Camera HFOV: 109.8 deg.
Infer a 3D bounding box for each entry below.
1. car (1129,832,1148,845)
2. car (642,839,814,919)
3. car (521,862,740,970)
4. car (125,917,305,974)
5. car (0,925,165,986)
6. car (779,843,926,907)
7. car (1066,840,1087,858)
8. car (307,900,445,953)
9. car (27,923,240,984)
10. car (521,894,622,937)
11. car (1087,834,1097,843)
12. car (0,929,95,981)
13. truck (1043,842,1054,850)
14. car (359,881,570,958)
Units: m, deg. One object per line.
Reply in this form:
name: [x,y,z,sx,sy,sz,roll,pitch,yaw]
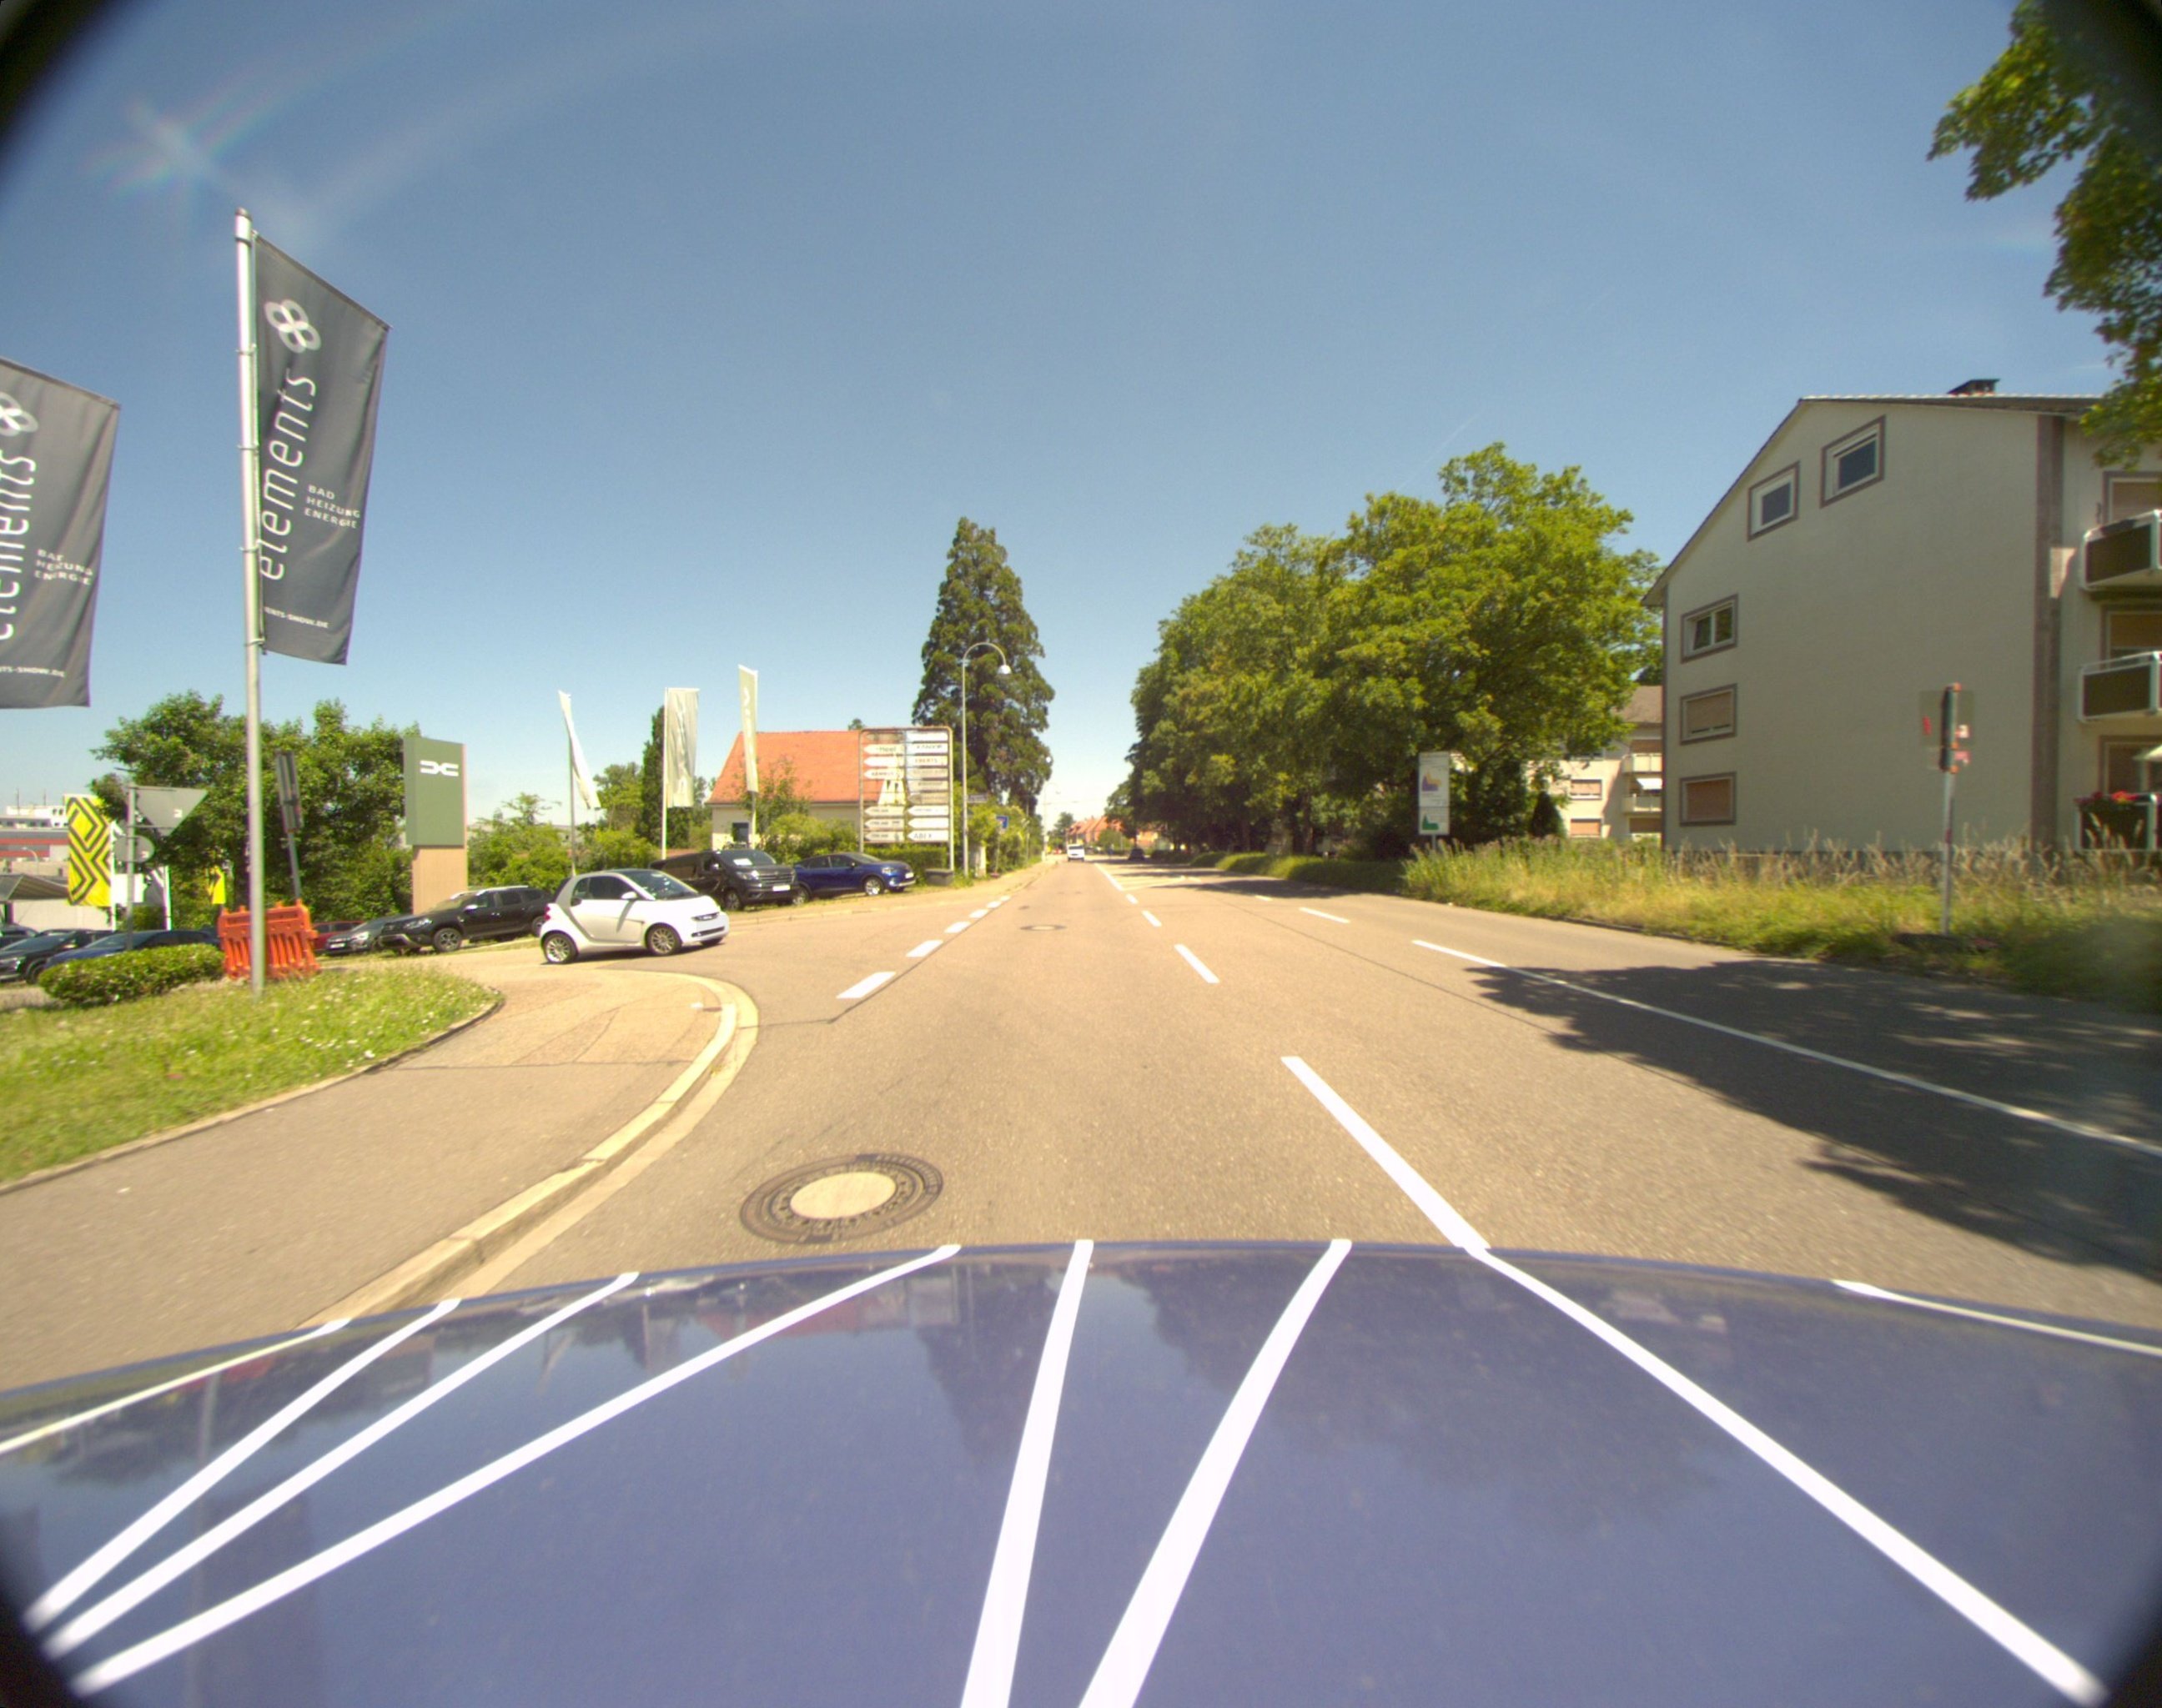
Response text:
car: [6.549,-1.760,86.901,1.726,1.419,4.146,-2,1,-1]
car: [-10.730,0.787,22.950,5.264,1.888,2.001,-6,0,32]
car: [-7.848,1.056,13.414,2.773,1.511,1.596,-4,3,6]
car: [-30.658,3.215,27.006,3.998,1.608,1.894,-2,1,-3]
car: [-30.679,3.027,22.841,1.752,1.525,4.087,-4,-3,-10]
car: [-7.456,0.682,24.972,4.075,1.506,1.857,-7,2,12]
car: [-0.516,-0.539,87.586,1.999,2.002,4.384,-2,1,-6]
car: [-28.971,2.926,31.417,1.874,1.693,3.999,-2,1,0]
car: [-28.083,2.890,22.751,1.716,1.364,3.998,-4,-2,-10]
car: [-20.638,2.475,30.943,1.739,1.498,3.434,-5,-3,-1]
car: [2.537,-3.447,172.561,1.999,1.899,4.987,-2,3,-3]
car: [-34.523,3.257,23.762,1.872,1.525,4.410,-4,-3,-6]
truck: [-9.044,-2.225,212.409,2.020,2.295,6.169,-4,1,-12]
car: [-17.659,1.807,22.089,1.826,1.648,4.372,-3,2,17]
